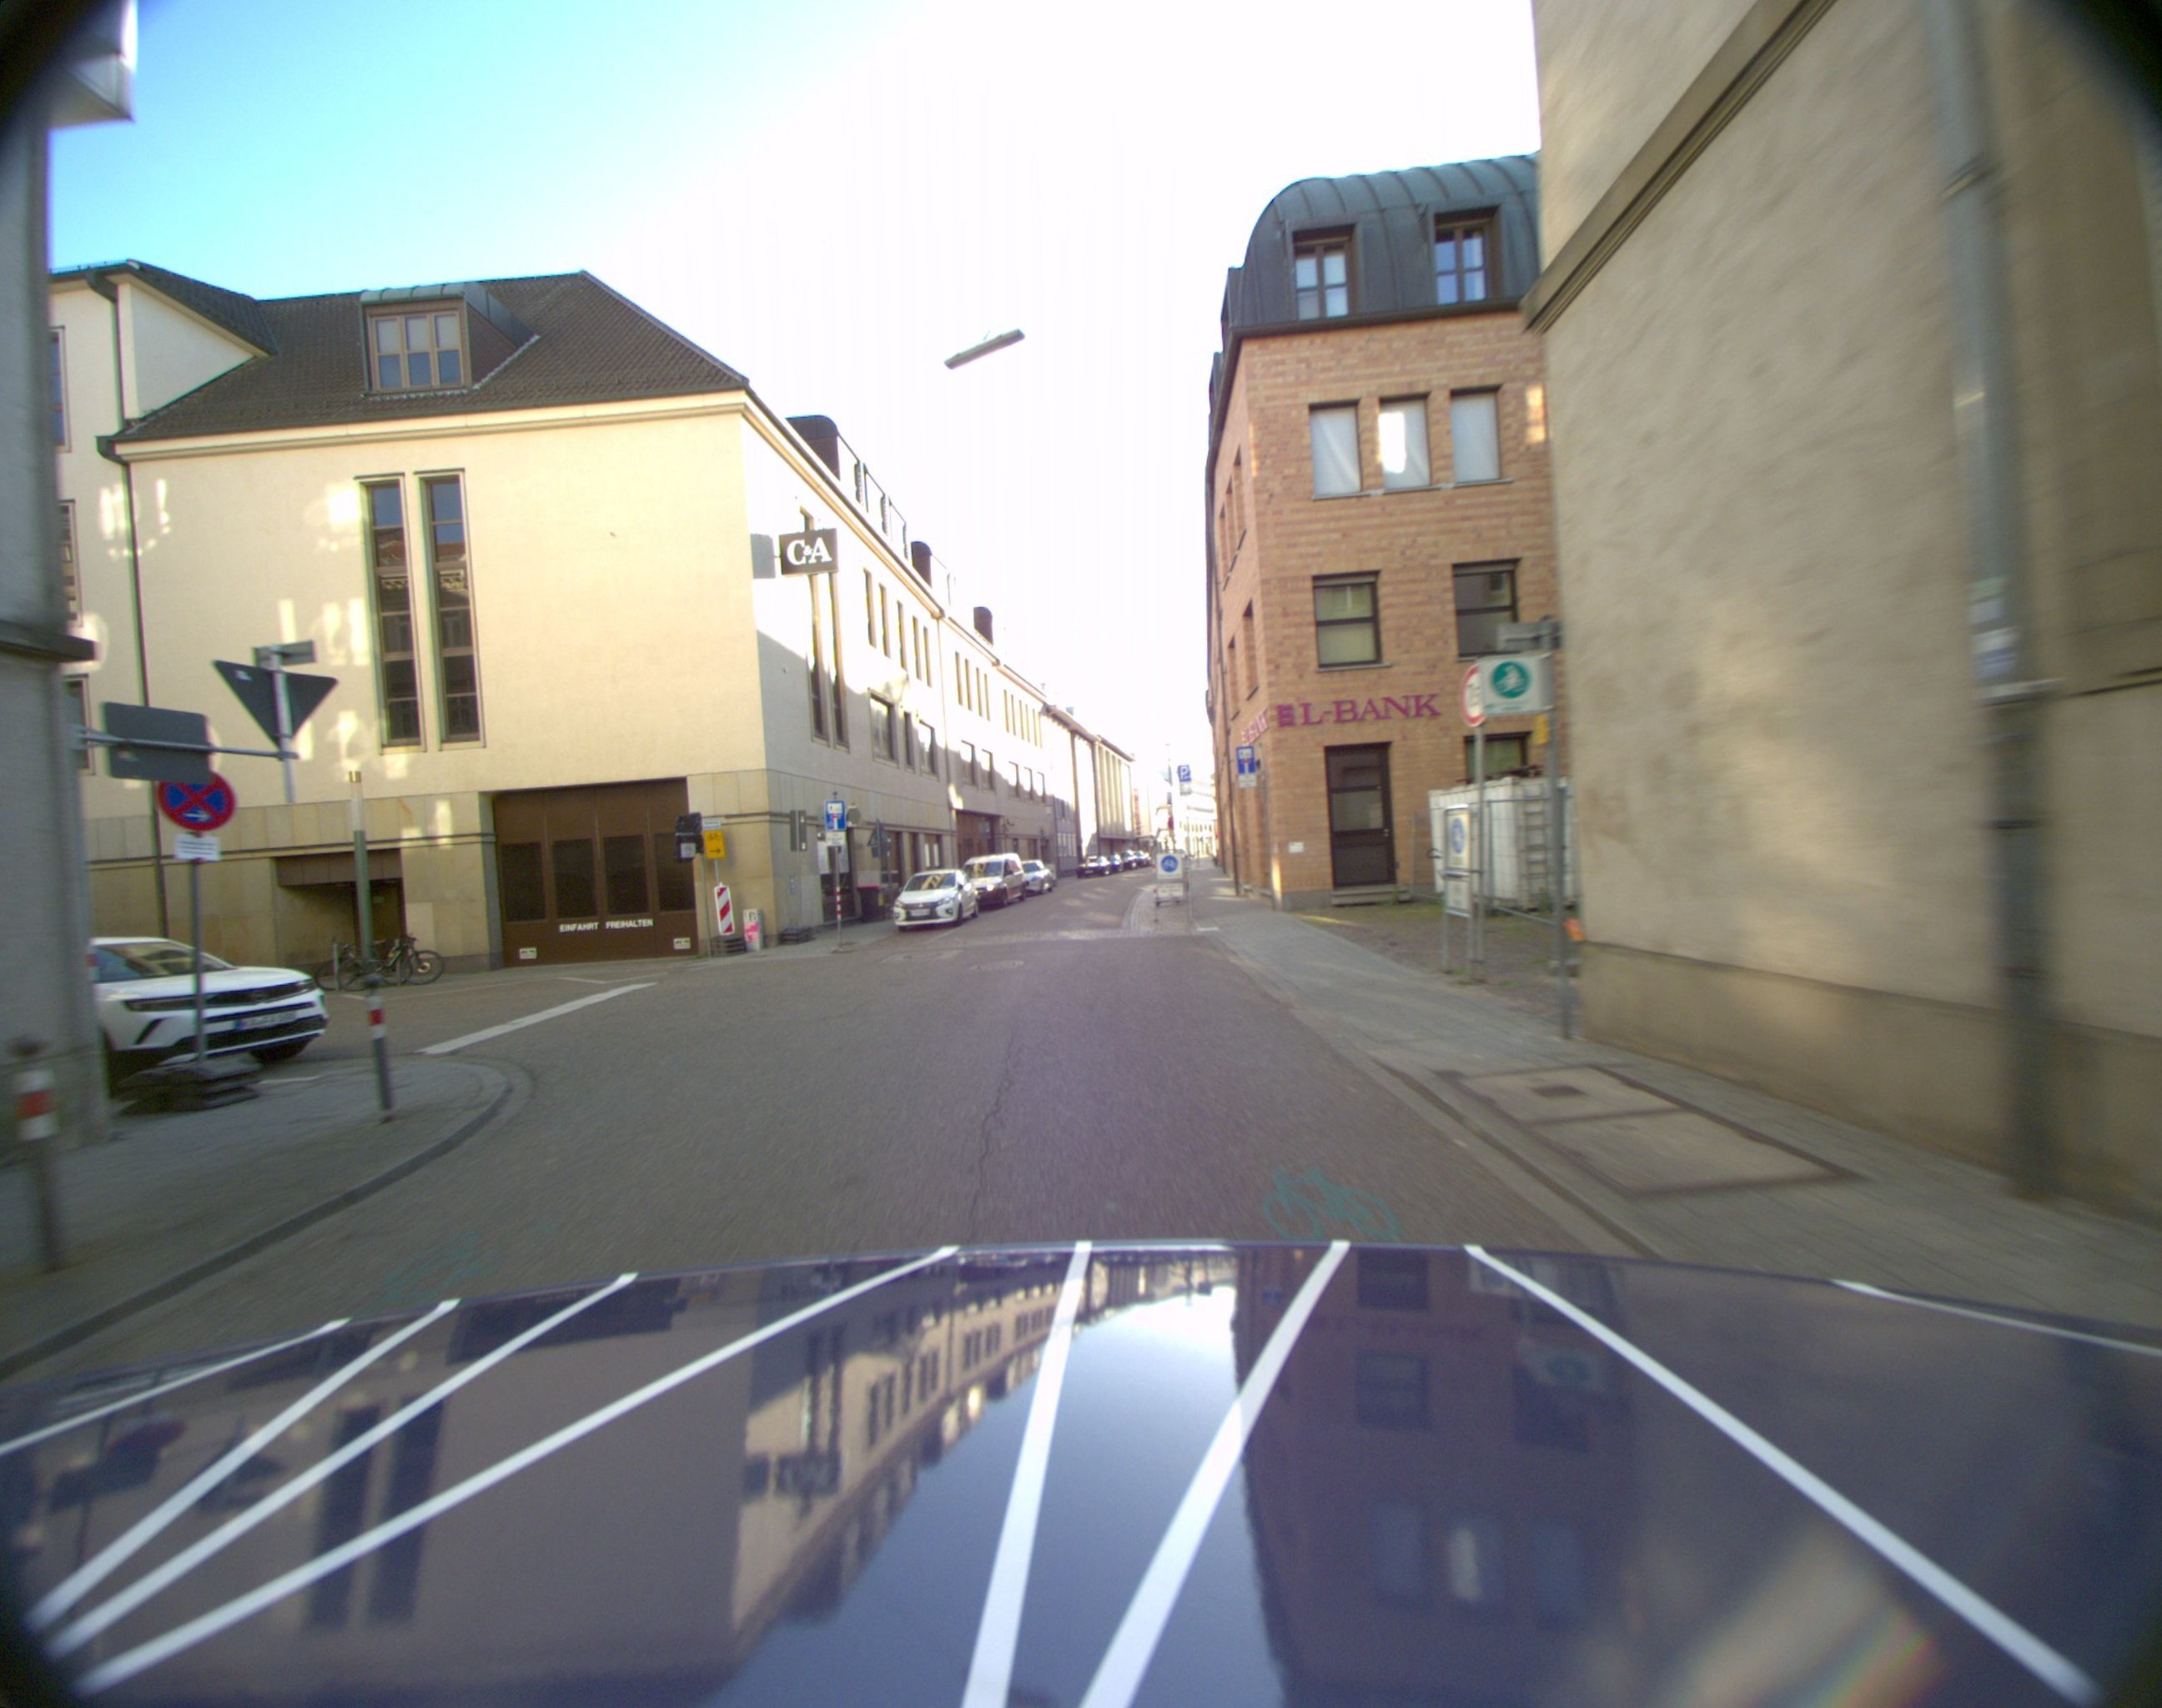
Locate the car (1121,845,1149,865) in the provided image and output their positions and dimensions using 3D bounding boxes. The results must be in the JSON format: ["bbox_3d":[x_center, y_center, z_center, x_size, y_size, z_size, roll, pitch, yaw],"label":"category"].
[{"bbox_3d":[5.178,0.069,72.405,1.964,1.637,4.199,-6,1,11],"label":"car"}]

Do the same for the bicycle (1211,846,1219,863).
[{"bbox_3d":[9.581,0.019,54.176,0.431,1.137,1.691,-5,1,12],"label":"bicycle"}]

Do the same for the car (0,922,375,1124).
[{"bbox_3d":[-10.257,1.747,7.979,4.077,1.559,1.767,-5,1,5],"label":"car"}]

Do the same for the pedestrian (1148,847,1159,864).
[{"bbox_3d":[9.216,0.202,96.598,0.944,2.002,0.899,-5,1,-10],"label":"pedestrian"}]

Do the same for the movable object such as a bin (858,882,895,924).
[{"bbox_3d":[-5.892,1.405,21.924,0.688,1.079,0.929,-5,1,4],"label":"movable object such as a bin"}]

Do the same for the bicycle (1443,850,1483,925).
[{"bbox_3d":[6.525,0.537,13.016,0.431,1.137,1.593,-5,1,23],"label":"bicycle"}]

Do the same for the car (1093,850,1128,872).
[{"bbox_3d":[2.348,0.536,59.595,1.964,1.400,4.199,-6,1,11],"label":"car"}]

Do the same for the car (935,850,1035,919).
[{"bbox_3d":[-3.188,0.958,26.603,1.947,1.850,5.196,-9,0,8],"label":"car"}]

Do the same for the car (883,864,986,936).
[{"bbox_3d":[-3.859,1.150,20.674,1.735,1.539,4.000,-5,0,2],"label":"car"}]

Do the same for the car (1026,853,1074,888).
[{"bbox_3d":[-1.673,0.894,42.788,1.775,1.574,3.858,-9,0,9],"label":"car"}]

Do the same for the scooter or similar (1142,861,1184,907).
[{"bbox_3d":[2.351,0.851,21.630,0.467,1.217,1.302,-3,0,41],"label":"scooter or similar"}]

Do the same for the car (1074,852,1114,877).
[{"bbox_3d":[0.956,0.701,53.053,1.964,1.400,4.199,-6,1,11],"label":"car"}]

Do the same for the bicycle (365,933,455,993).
[{"bbox_3d":[-13.636,2.216,15.446,1.649,1.067,0.488,-5,1,16],"label":"bicycle"}]

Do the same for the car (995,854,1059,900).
[{"bbox_3d":[-2.266,0.928,32.732,1.775,1.574,3.858,-9,0,8],"label":"car"}]

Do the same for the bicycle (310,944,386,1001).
[{"bbox_3d":[-14.541,2.349,15.066,1.419,1.002,0.471,-5,1,21],"label":"bicycle"}]

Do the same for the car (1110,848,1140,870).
[{"bbox_3d":[3.830,0.400,65.505,1.964,1.527,4.199,-6,1,11],"label":"car"}]
